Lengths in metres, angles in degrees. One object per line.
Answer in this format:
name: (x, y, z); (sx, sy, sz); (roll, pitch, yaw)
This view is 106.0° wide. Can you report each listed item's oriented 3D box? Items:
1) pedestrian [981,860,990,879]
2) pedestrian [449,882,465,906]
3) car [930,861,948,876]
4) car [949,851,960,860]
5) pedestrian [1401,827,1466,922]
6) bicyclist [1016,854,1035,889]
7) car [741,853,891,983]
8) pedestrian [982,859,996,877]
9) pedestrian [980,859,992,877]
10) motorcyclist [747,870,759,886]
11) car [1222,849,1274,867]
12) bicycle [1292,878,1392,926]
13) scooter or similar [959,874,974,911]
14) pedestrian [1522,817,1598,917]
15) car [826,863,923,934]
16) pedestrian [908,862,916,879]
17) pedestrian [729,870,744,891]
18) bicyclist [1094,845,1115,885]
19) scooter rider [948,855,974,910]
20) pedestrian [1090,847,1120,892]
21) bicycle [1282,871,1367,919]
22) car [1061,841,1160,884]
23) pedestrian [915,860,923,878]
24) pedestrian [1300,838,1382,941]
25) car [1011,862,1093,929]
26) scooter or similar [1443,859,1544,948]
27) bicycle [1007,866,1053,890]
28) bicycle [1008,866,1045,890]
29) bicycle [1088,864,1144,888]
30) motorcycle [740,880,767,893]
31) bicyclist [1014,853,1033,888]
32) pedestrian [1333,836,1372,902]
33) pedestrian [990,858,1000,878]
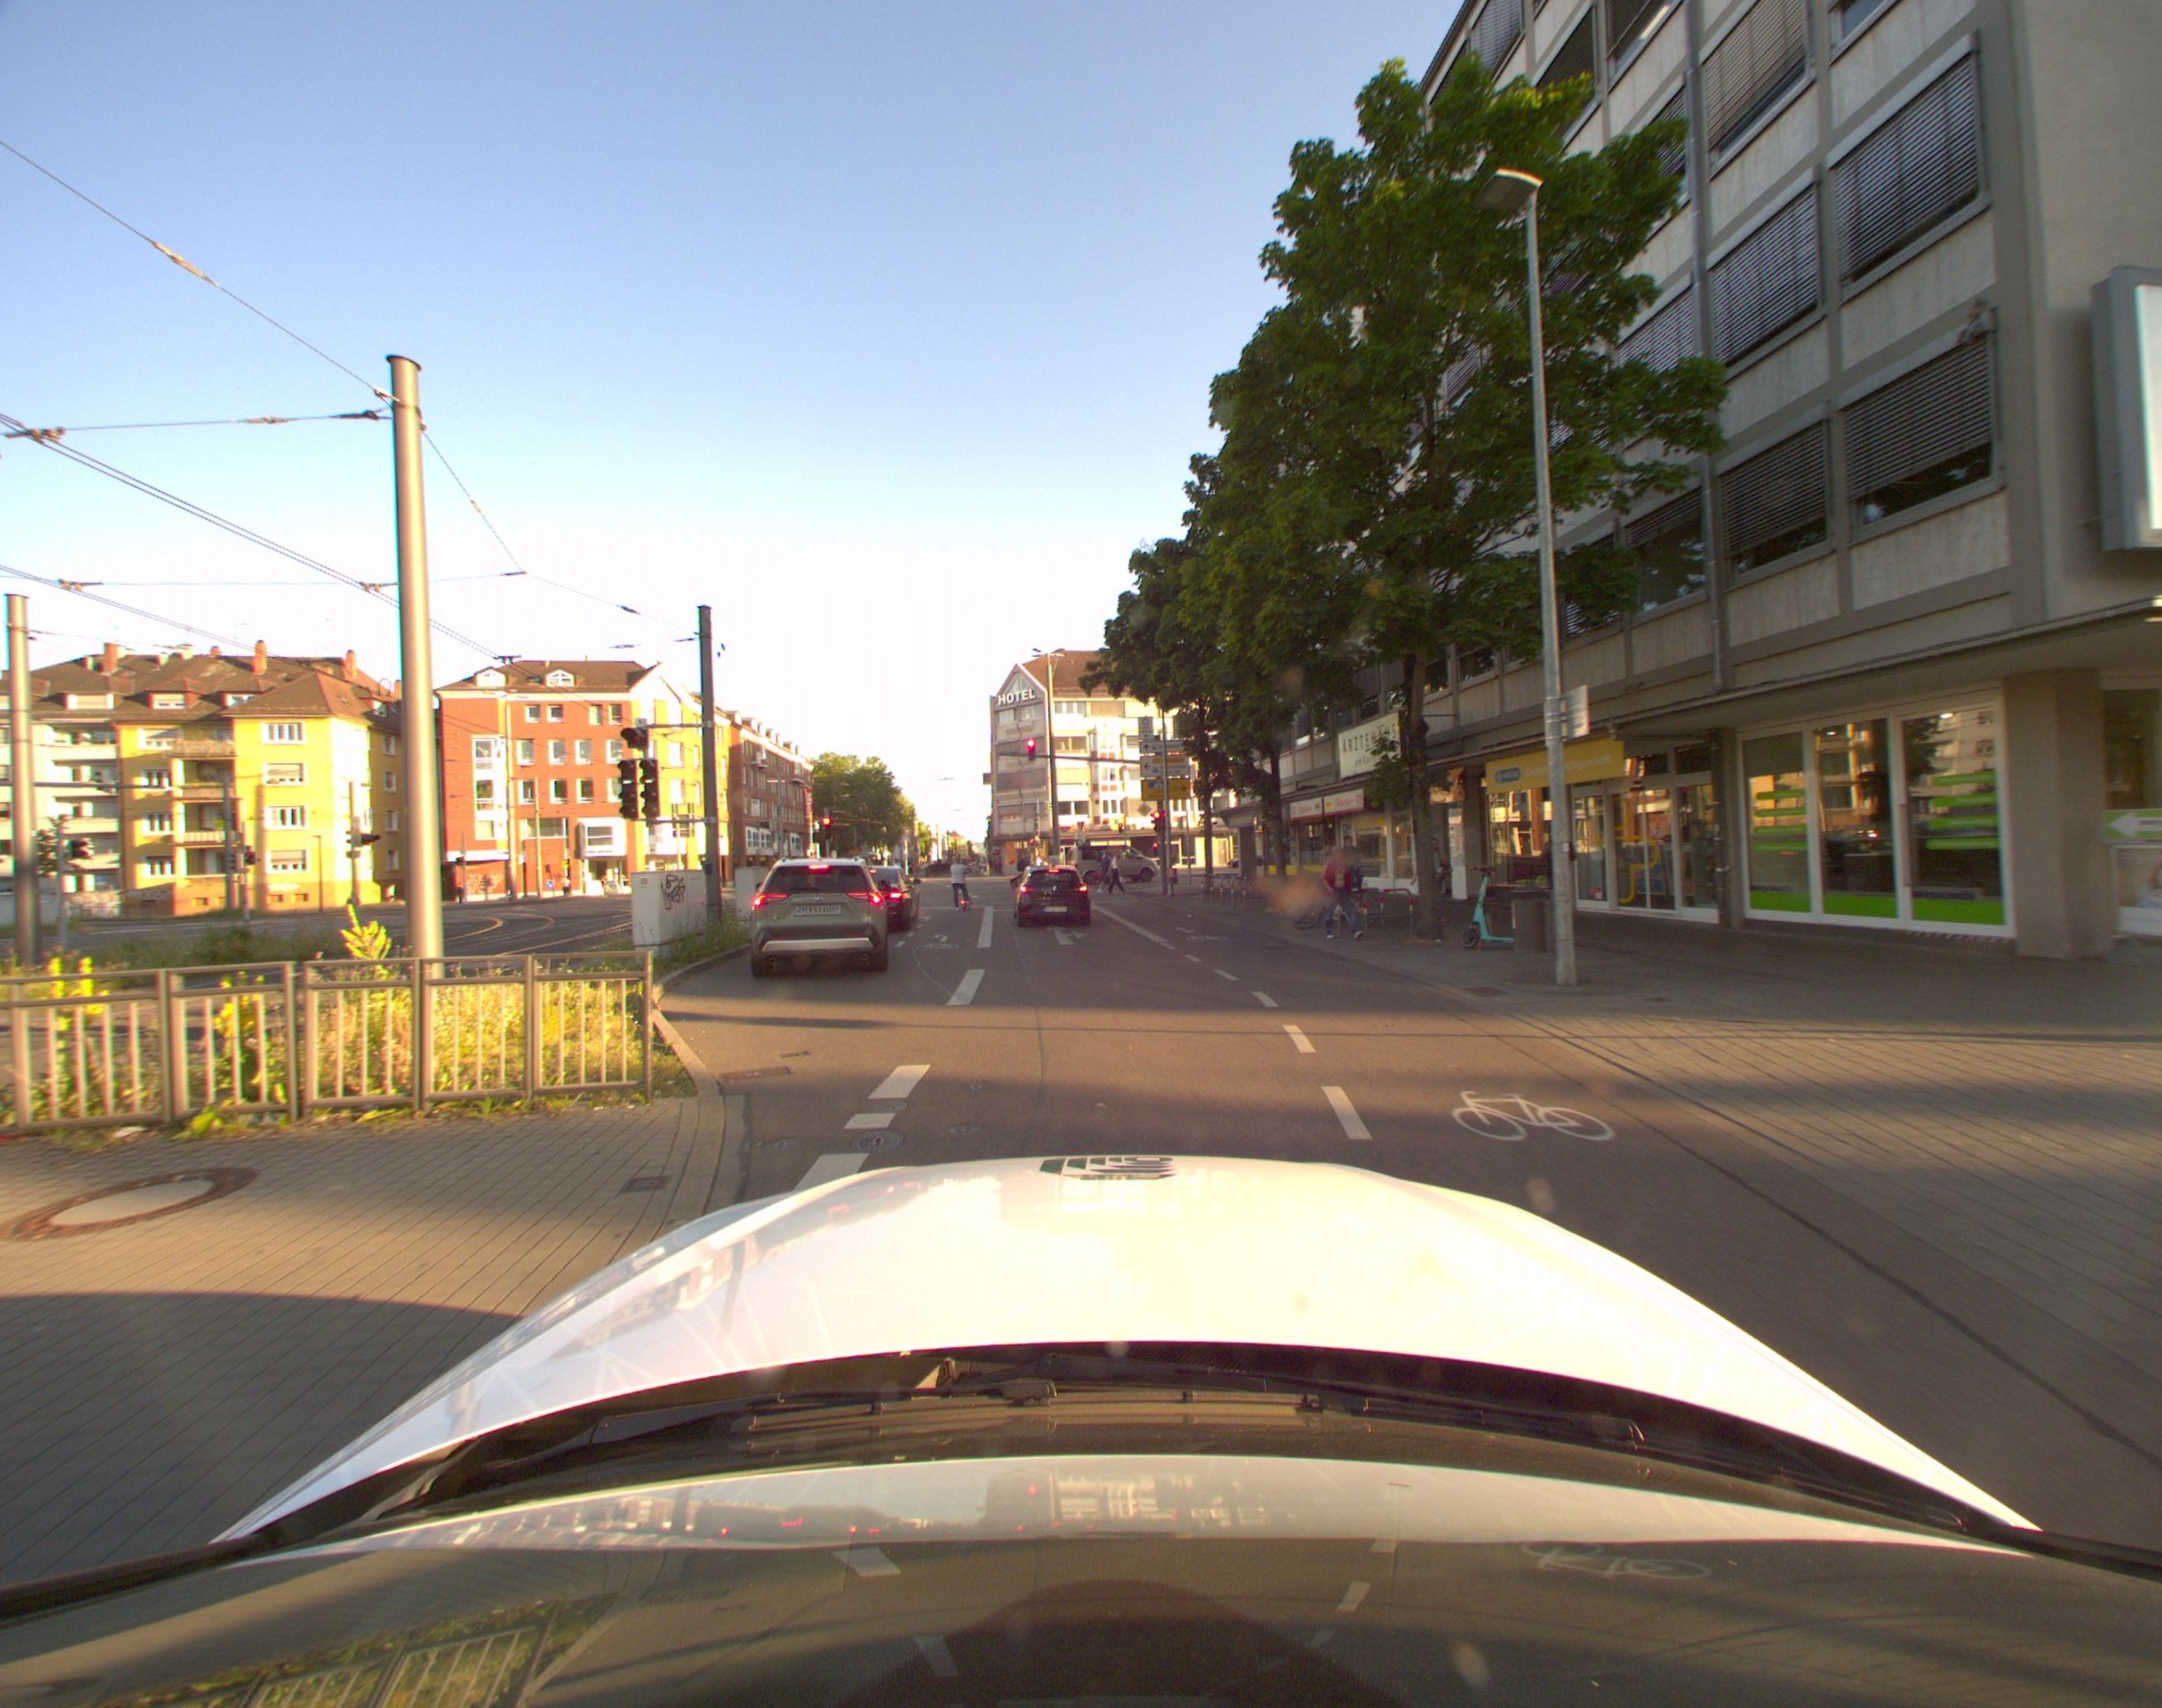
pedestrian: (-10.784, 1.743, 91.947); (0.932, 2.196, 0.849); (-1, -1, -10)
pedestrian: (-46.176, 2.932, 60.271); (0.682, 1.743, 0.671); (-2, -2, 22)
car: (-17.217, 1.770, 99.024); (1.809, 1.746, 3.708); (-1, -1, -5)
car: (-25.539, 0.321, 164.928); (1.991, 1.901, 3.992); (-1, -1, -6)
pedestrian: (6.788, 0.388, 15.723); (0.745, 1.778, 0.971); (-1, -1, -5)
bicyclist: (-2.503, 0.770, 36.658); (0.705, 1.511, 0.547); (-4, 0, -13)
car: (-3.945, 0.828, 12.640); (1.838, 1.636, 4.070); (-1, 0, -14)
pedestrian: (-8.619, 1.304, 76.112); (0.841, 1.726, 0.940); (-2, -1, 42)
pedestrian: (-9.027, 1.311, 77.157); (0.727, 1.623, 0.762); (-2, -1, -45)
motorcyclist: (-24.998, 1.838, 62.102); (0.704, 1.220, 0.785); (-1, -1, -13)
car: (14.462, 0.338, 70.619); (3.986, 1.476, 1.994); (-1, -1, -9)
bicycle: (5.103, 0.938, 15.978); (1.812, 0.891, 0.415); (-1, -1, 0)
scooter or similar: (-3.511, 1.163, 24.978); (0.278, 1.091, 1.257); (-1, -1, 0)
pedestrian: (8.367, 0.217, 14.251); (0.745, 1.684, 0.892); (-1, -1, -5)
car: (-4.807, 0.964, 19.526); (1.744, 1.460, 4.398); (-1, 0, -8)
pedestrian: (-17.066, 1.637, 82.116); (0.700, 1.664, 0.806); (-1, -1, -5)
pedestrian: (-33.454, 2.593, 79.144); (1.093, 2.014, 0.906); (-1, -1, -9)
bicyclist: (1.130, 0.506, 38.763); (0.861, 1.878, 0.643); (-1, -1, -13)
scooter rider: (-3.689, 0.869, 25.004); (0.659, 1.647, 0.661); (-1, -1, 1)
pedestrian: (0.985, 0.647, 33.615); (1.000, 1.830, 0.722); (0, -1, -27)
bicycle: (5.064, 0.848, 16.951); (1.652, 0.974, 0.386); (-1, -1, 0)
car: (1.539, 0.418, 42.484); (4.695, 2.013, 1.988); (-3, 0, -18)
pedestrian: (-16.298, 1.537, 81.895); (0.700, 1.823, 0.806); (-1, -1, -5)
pedestrian: (4.420, 0.582, 13.888); (0.828, 1.685, 1.039); (0, -1, -28)
car: (-0.826, 0.959, 20.423); (1.762, 1.440, 3.992); (-1, 0, -6)
scooter or similar: (5.919, 0.715, 11.733); (1.205, 1.217, 0.296); (-4, -3, 39)
bicycle: (-2.303, 1.077, 36.681); (2.038, 1.028, 0.415); (-2, -1, -13)
bicycle: (-2.516, 1.107, 37.358); (1.613, 1.028, 0.352); (-2, -1, -14)
bicycle: (1.655, 1.061, 38.890); (2.643, 1.100, 0.433); (-1, -1, -13)
motorcycle: (-24.972, 2.462, 62.157); (1.834, 0.908, 0.430); (-1, -1, -12)
bicyclist: (-2.649, 0.753, 37.383); (0.704, 1.511, 0.548); (-4, 0, -12)
pedestrian: (7.506, 0.410, 22.564); (0.745, 1.778, 0.798); (-1, -1, -5)
pedestrian: (-9.938, 1.637, 94.492); (1.083, 2.365, 1.053); (-1, -1, -6)
